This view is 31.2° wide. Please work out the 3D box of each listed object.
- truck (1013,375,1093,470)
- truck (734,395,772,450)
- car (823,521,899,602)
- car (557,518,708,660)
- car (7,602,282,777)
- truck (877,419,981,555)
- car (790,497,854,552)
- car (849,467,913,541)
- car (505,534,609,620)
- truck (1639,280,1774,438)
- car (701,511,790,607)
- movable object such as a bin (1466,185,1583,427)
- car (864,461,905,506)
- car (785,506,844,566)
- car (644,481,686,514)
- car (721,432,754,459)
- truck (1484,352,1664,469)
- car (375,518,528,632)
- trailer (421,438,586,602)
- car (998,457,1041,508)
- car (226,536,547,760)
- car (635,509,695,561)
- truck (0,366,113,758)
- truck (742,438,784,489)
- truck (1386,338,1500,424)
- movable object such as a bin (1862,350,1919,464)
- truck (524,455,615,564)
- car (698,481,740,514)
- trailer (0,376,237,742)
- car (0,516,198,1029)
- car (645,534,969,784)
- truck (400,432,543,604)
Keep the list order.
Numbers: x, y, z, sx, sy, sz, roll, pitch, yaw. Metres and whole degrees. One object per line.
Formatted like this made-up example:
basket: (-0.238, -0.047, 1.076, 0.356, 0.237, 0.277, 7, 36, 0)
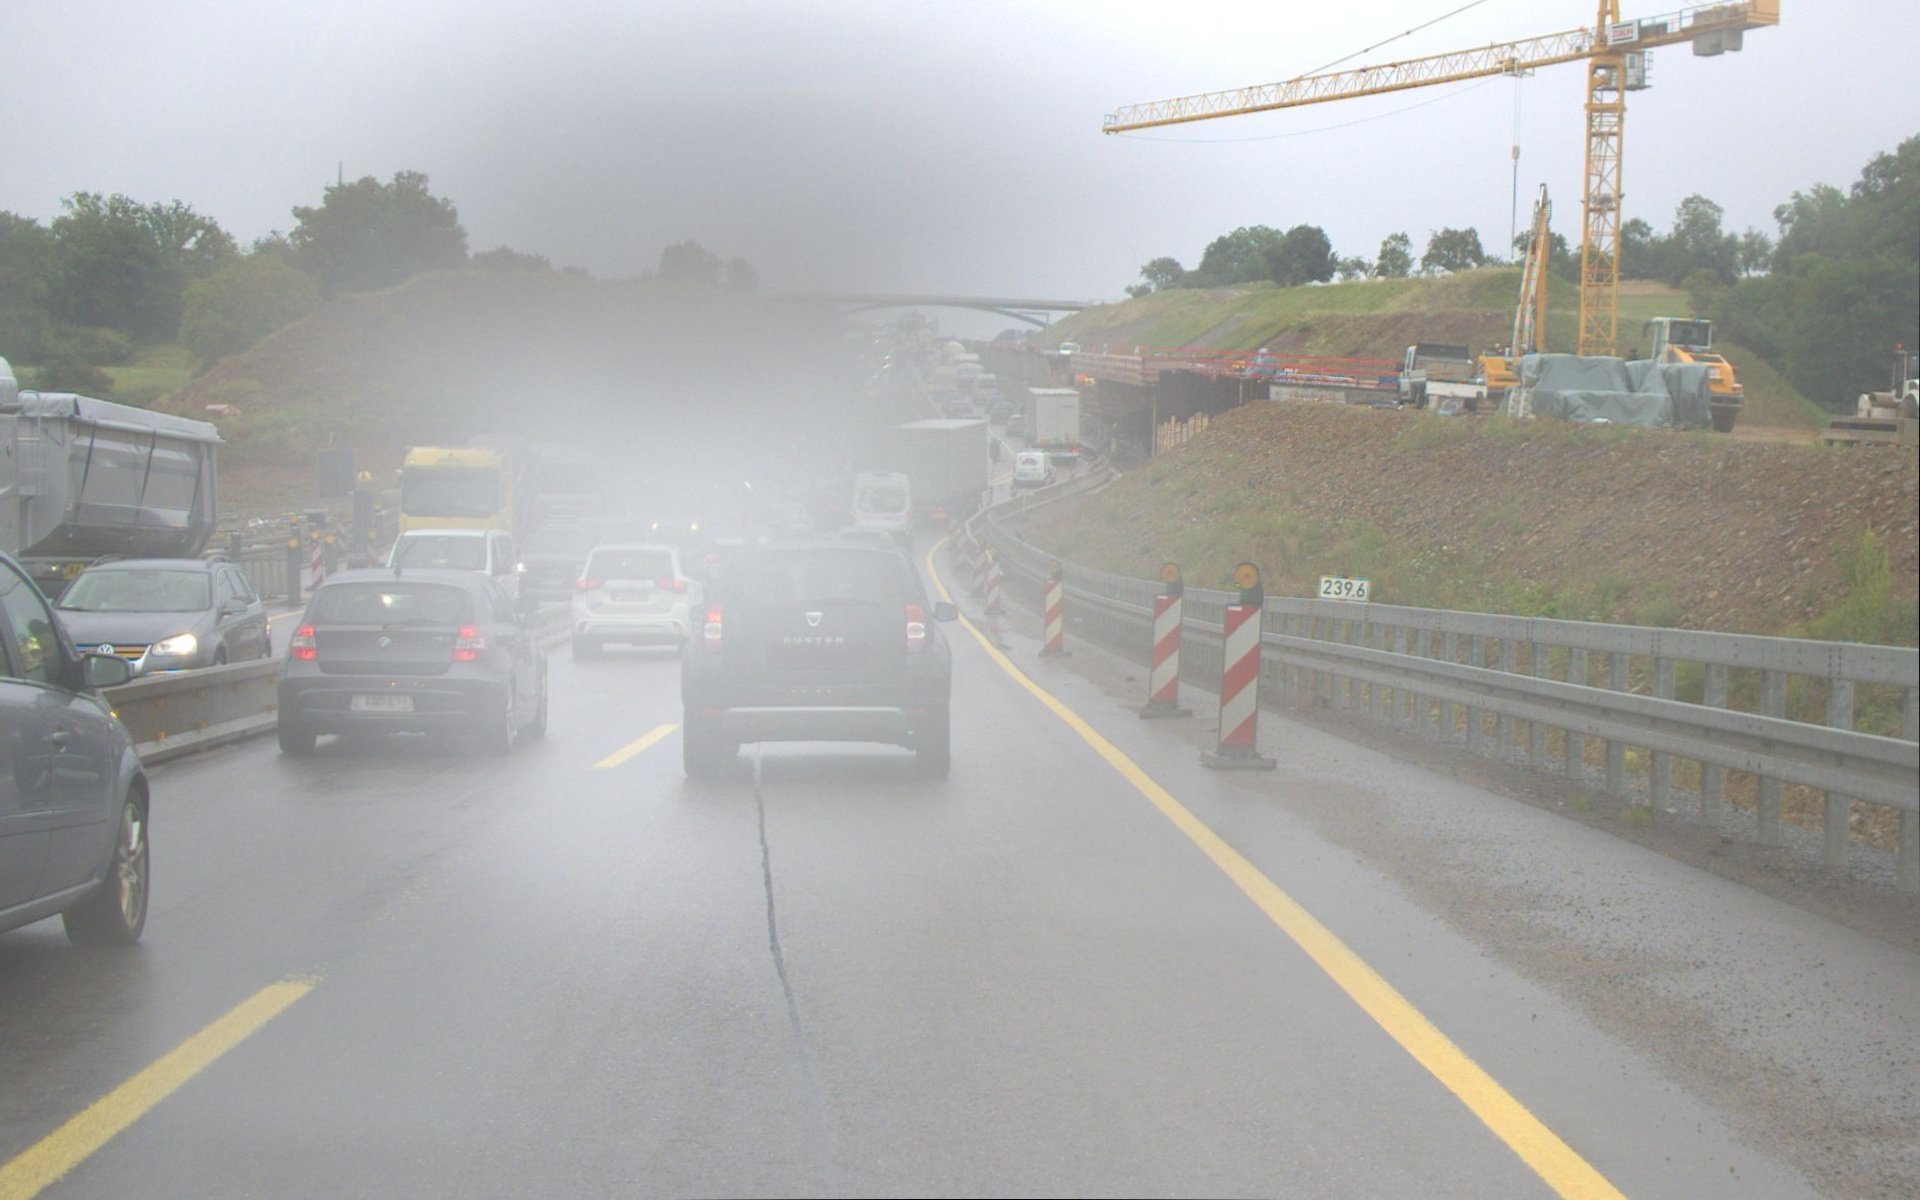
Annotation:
truck: (5.339, -10.207, 199.659, 3.803, 5.025, 12.923, 1, 1, -2)
truck: (-15.396, -13.249, 256.043, 2.641, 3.956, 9.216, 1, 3, -3)
car: (-2.740, -1.083, 95.673, 1.993, 2.155, 4.141, 1, 1, -1)
car: (-4.832, -0.188, 51.207, 1.993, 2.007, 3.894, 1, 1, -2)
car: (-7.564, 0.789, 32.237, 1.709, 1.448, 4.000, 1, 1, -2)
truck: (-1.210, -4.568, 141.428, 3.102, 5.407, 9.441, 1, 1, 6)
car: (-5.475, -2.983, 136.690, 1.994, 2.155, 4.140, 1, 1, 5)
car: (-2.698, -3.305, 118.859, 1.993, 2.475, 4.982, 1, 1, 1)
car: (-8.748, -0.516, 74.985, 1.787, 1.799, 5.190, -1, 1, -1)
truck: (21.529, -6.900, 99.433, 2.373, 4.203, 5.980, 1, 1, -2)
car: (-5.032, -0.966, 80.232, 1.993, 2.155, 4.141, 1, 1, -5)
movable object such as a bin: (27.133, -13.906, 164.760, 4.721, 10.804, 10.298, 1, 1, 13)
car: (-3.729, -5.745, 169.872, 1.993, 2.155, 4.141, 1, 1, -1)
car: (-5.285, -2.330, 125.499, 1.993, 2.155, 4.141, 1, 1, 0)
car: (-14.042, -4.898, 163.896, 1.787, 1.541, 4.001, 1, 2, -2)
car: (-13.181, -9.122, 203.484, 1.786, 1.533, 4.312, 0, 2, -2)
truck: (17.009, -5.218, 95.896, 3.395, 2.865, 8.960, 1, 1, 0)
car: (-8.357, -0.431, 56.920, 1.874, 1.786, 5.360, 0, 1, -2)
trailer: (-12.173, -2.114, 93.124, 2.749, 4.028, 15.360, 1, 1, -1)
car: (2.987, -5.908, 173.458, 1.993, 2.475, 4.741, 1, 1, 0)
car: (-4.380, 0.314, 26.861, 1.993, 1.595, 4.141, 1, 1, -3)
car: (-10.385, -2.287, 121.202, 1.865, 1.794, 4.163, 1, 1, -2)
truck: (-10.991, -0.412, 36.690, 2.686, 3.913, 5.274, 0, 1, -1)
truck: (-10.415, -7.204, 182.140, 2.078, 2.567, 5.962, 1, 1, -2)
truck: (16.447, -7.439, 117.458, 2.645, 2.546, 6.985, 1, 1, -2)
movable object such as a bin: (32.431, -6.433, 114.920, 2.340, 3.587, 6.562, 1, 1, -4)
truck: (-13.579, -3.134, 119.845, 2.620, 3.665, 6.596, 1, 1, -2)
car: (-11.286, -4.796, 161.358, 1.772, 1.499, 4.680, 0, 2, -2)
trailer: (-11.110, -0.512, 42.032, 2.686, 3.950, 9.820, 0, 1, -1)
car: (-3.981, 0.510, 11.476, 1.993, 1.595, 4.141, 1, 1, -1)
car: (-1.018, 0.349, 24.329, 2.081, 1.595, 4.141, 1, 1, -1)
truck: (-11.997, -1.995, 84.928, 2.749, 4.048, 6.148, 1, 1, -1)
